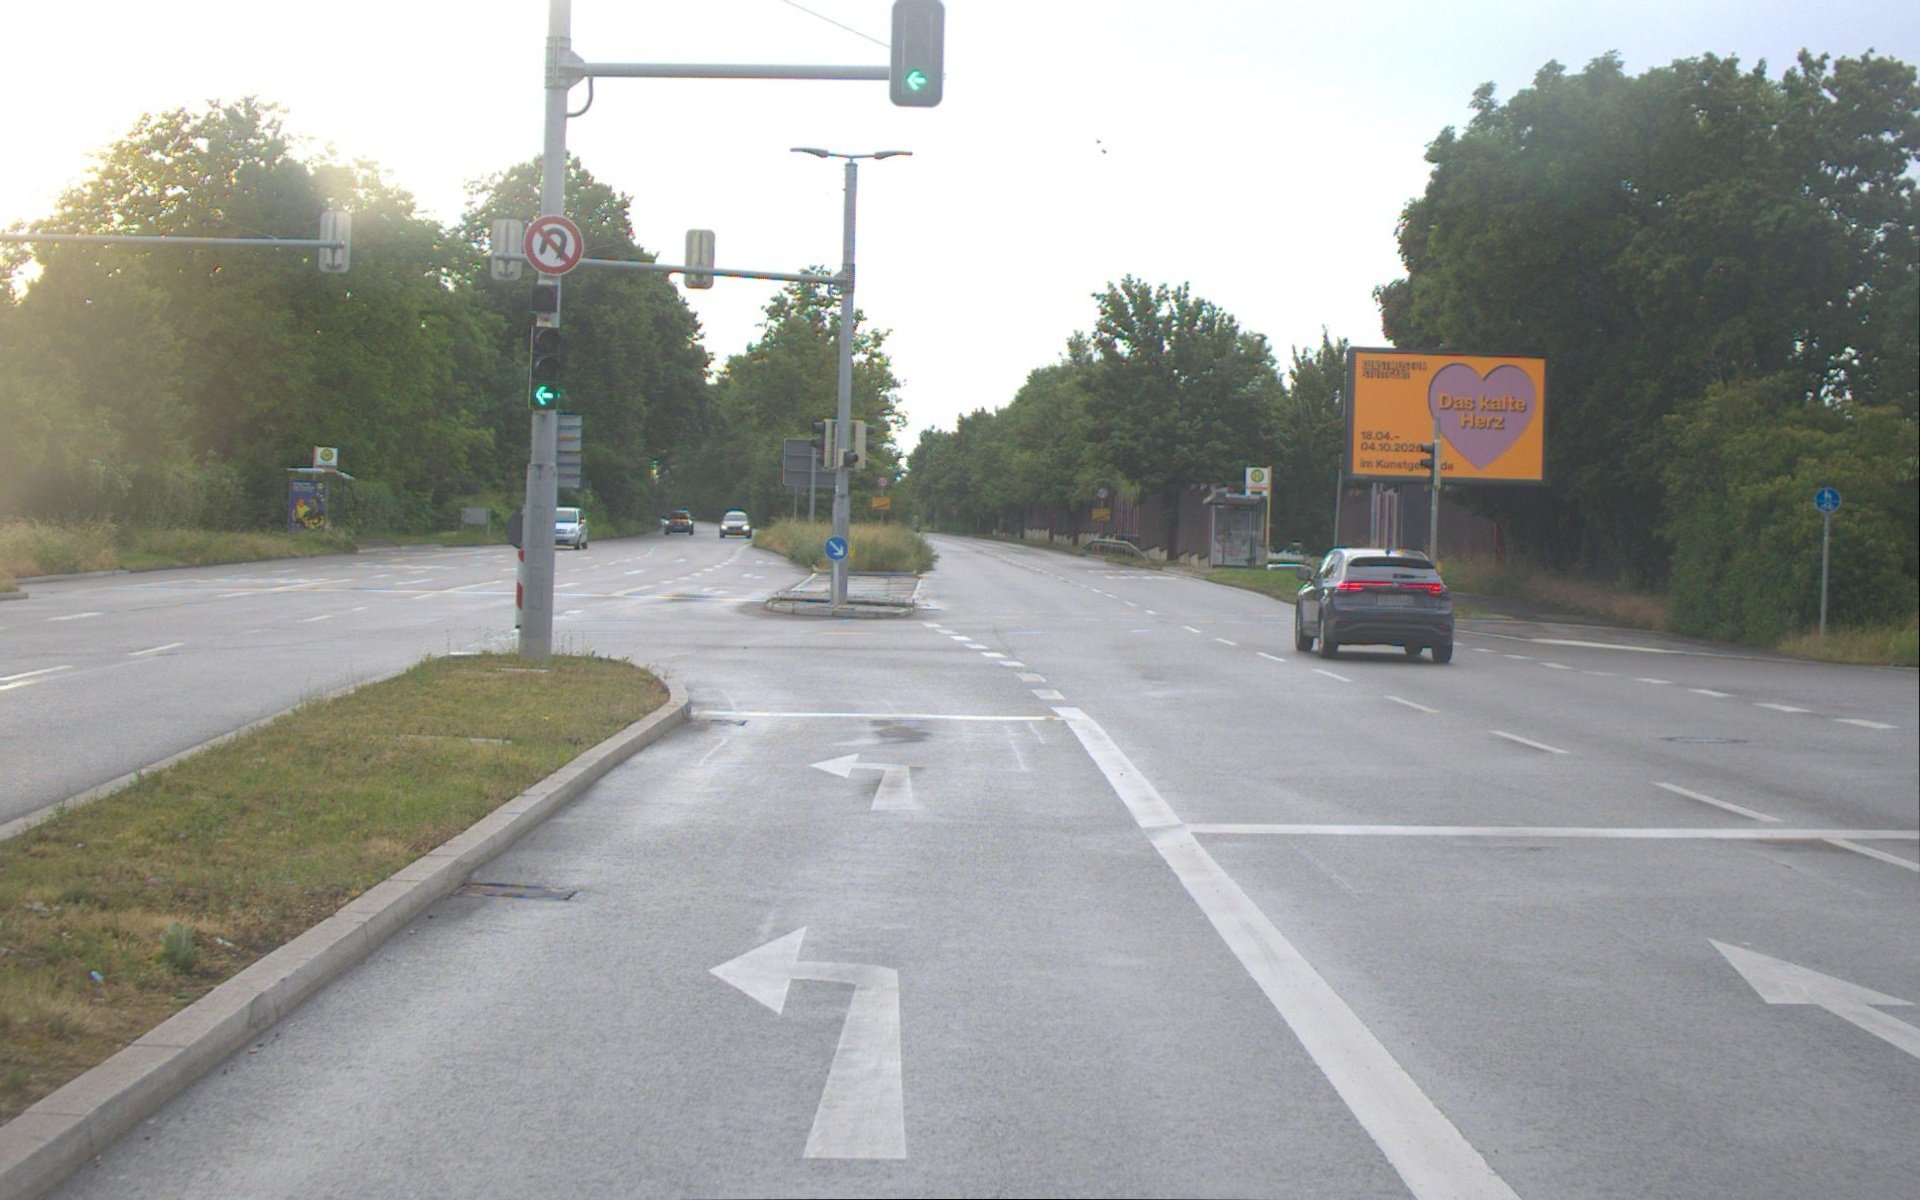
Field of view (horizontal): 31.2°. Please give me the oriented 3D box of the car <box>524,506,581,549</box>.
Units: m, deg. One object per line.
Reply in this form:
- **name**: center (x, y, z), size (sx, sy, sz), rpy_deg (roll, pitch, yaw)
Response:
- **car**: center (-15.923, -2.852, 134.551), size (1.768, 1.590, 4.489), rpy_deg (2, 1, -1)

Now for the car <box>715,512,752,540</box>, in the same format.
- **car**: center (-13.098, -4.300, 198.761), size (1.893, 1.529, 4.489), rpy_deg (2, 1, -1)

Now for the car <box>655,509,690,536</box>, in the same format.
- **car**: center (-17.941, -4.813, 214.822), size (1.893, 1.590, 4.489), rpy_deg (2, 1, -1)

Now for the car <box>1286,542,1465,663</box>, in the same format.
- **car**: center (5.533, -0.003, 46.226), size (1.744, 1.465, 4.166), rpy_deg (2, 1, -1)
